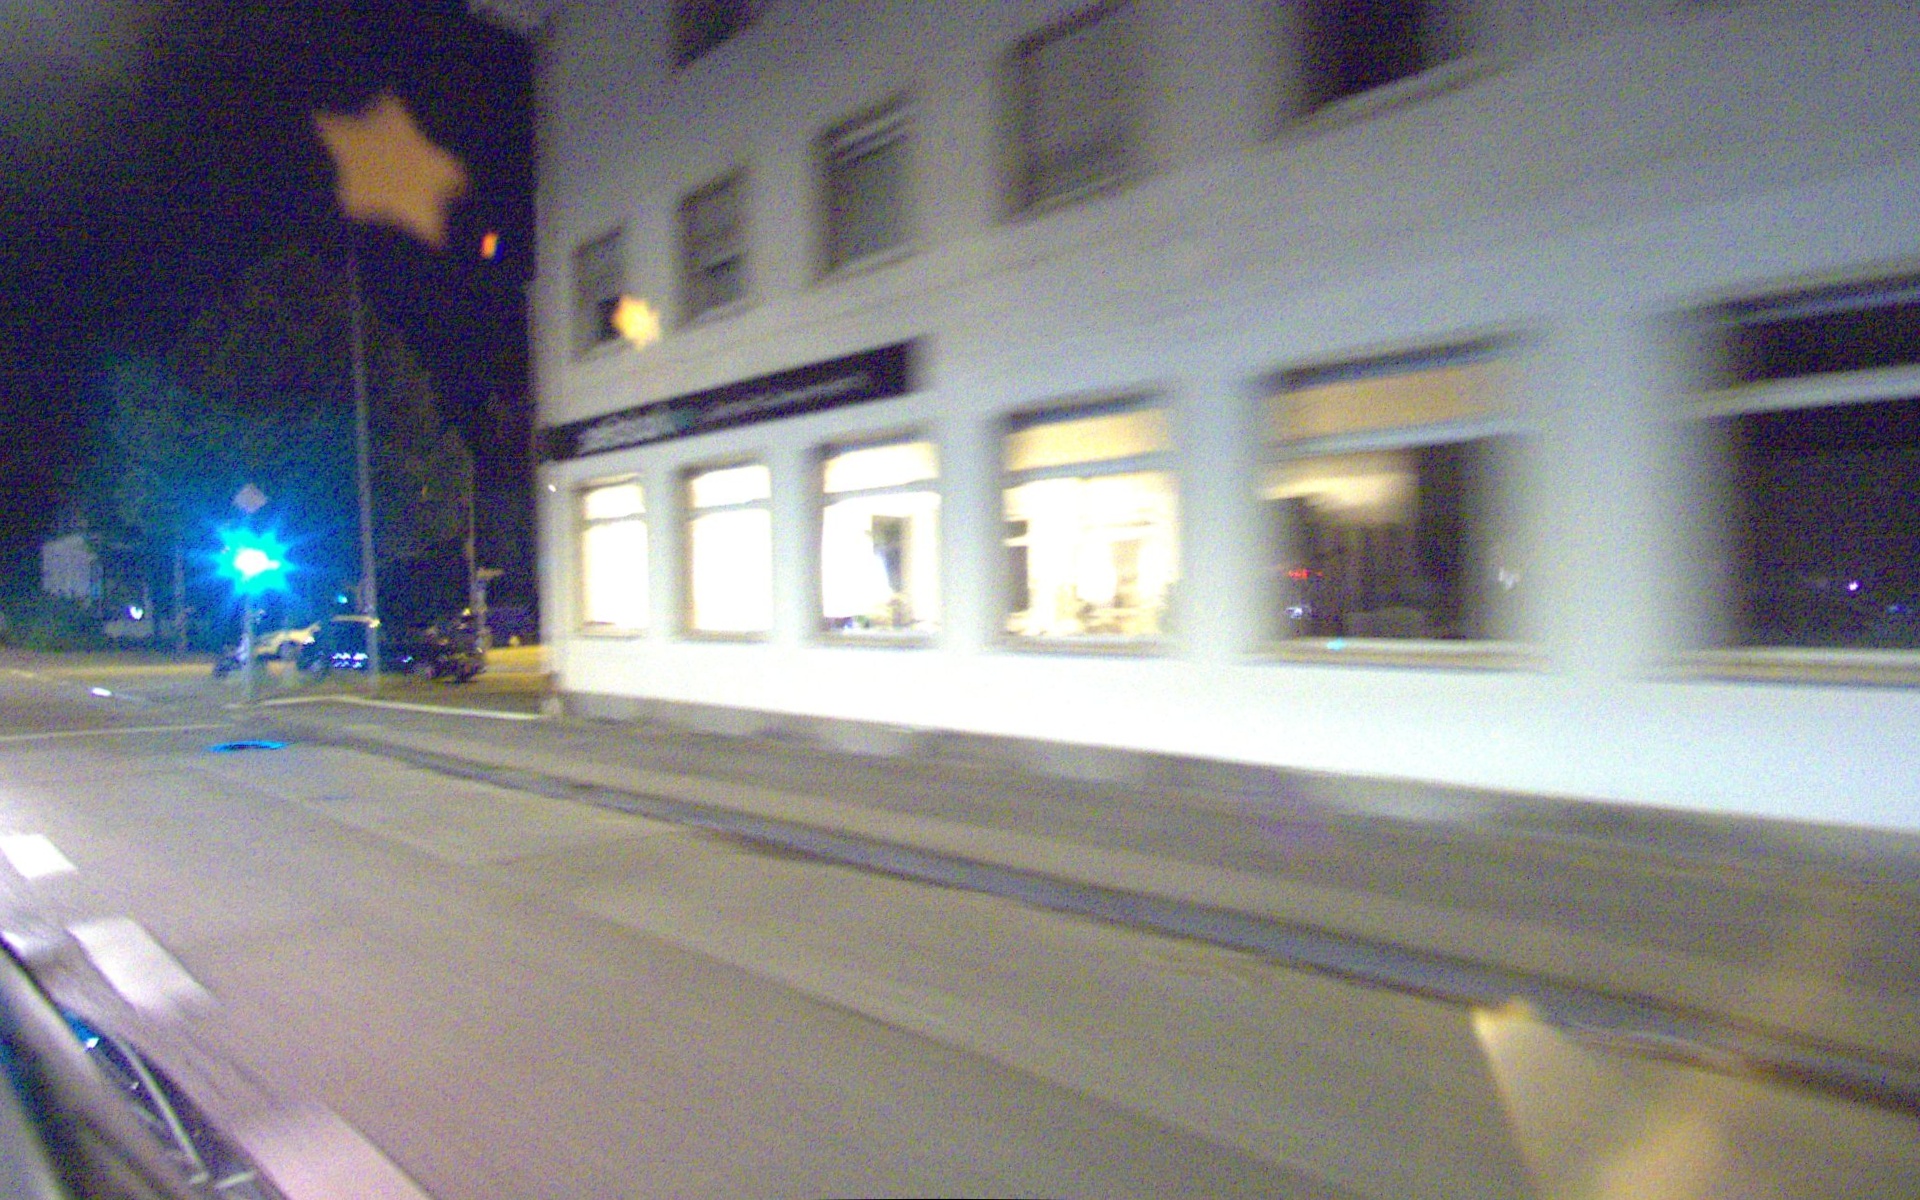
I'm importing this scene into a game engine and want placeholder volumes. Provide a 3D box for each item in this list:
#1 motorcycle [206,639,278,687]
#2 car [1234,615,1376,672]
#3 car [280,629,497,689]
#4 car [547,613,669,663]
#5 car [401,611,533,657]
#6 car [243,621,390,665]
[{"bbox_3d":[-18.439,1.614,25.991,2.020,1.189,0.569,-1,-1,24],"label":"motorcycle"},{"bbox_3d":[9.375,1.192,27.758,3.523,1.500,1.599,-1,-2,15],"label":"car"},{"bbox_3d":[-14.461,1.469,25.711,4.677,1.435,1.887,0,-1,10],"label":"car"},{"bbox_3d":[-14.213,1.485,41.029,1.957,1.767,4.292,1,2,43],"label":"car"},{"bbox_3d":[-22.099,1.502,45.535,2.026,1.904,4.938,-2,-1,39],"label":"car"},{"bbox_3d":[-25.803,1.676,40.727,2.001,1.641,4.614,0,-1,39],"label":"car"}]
